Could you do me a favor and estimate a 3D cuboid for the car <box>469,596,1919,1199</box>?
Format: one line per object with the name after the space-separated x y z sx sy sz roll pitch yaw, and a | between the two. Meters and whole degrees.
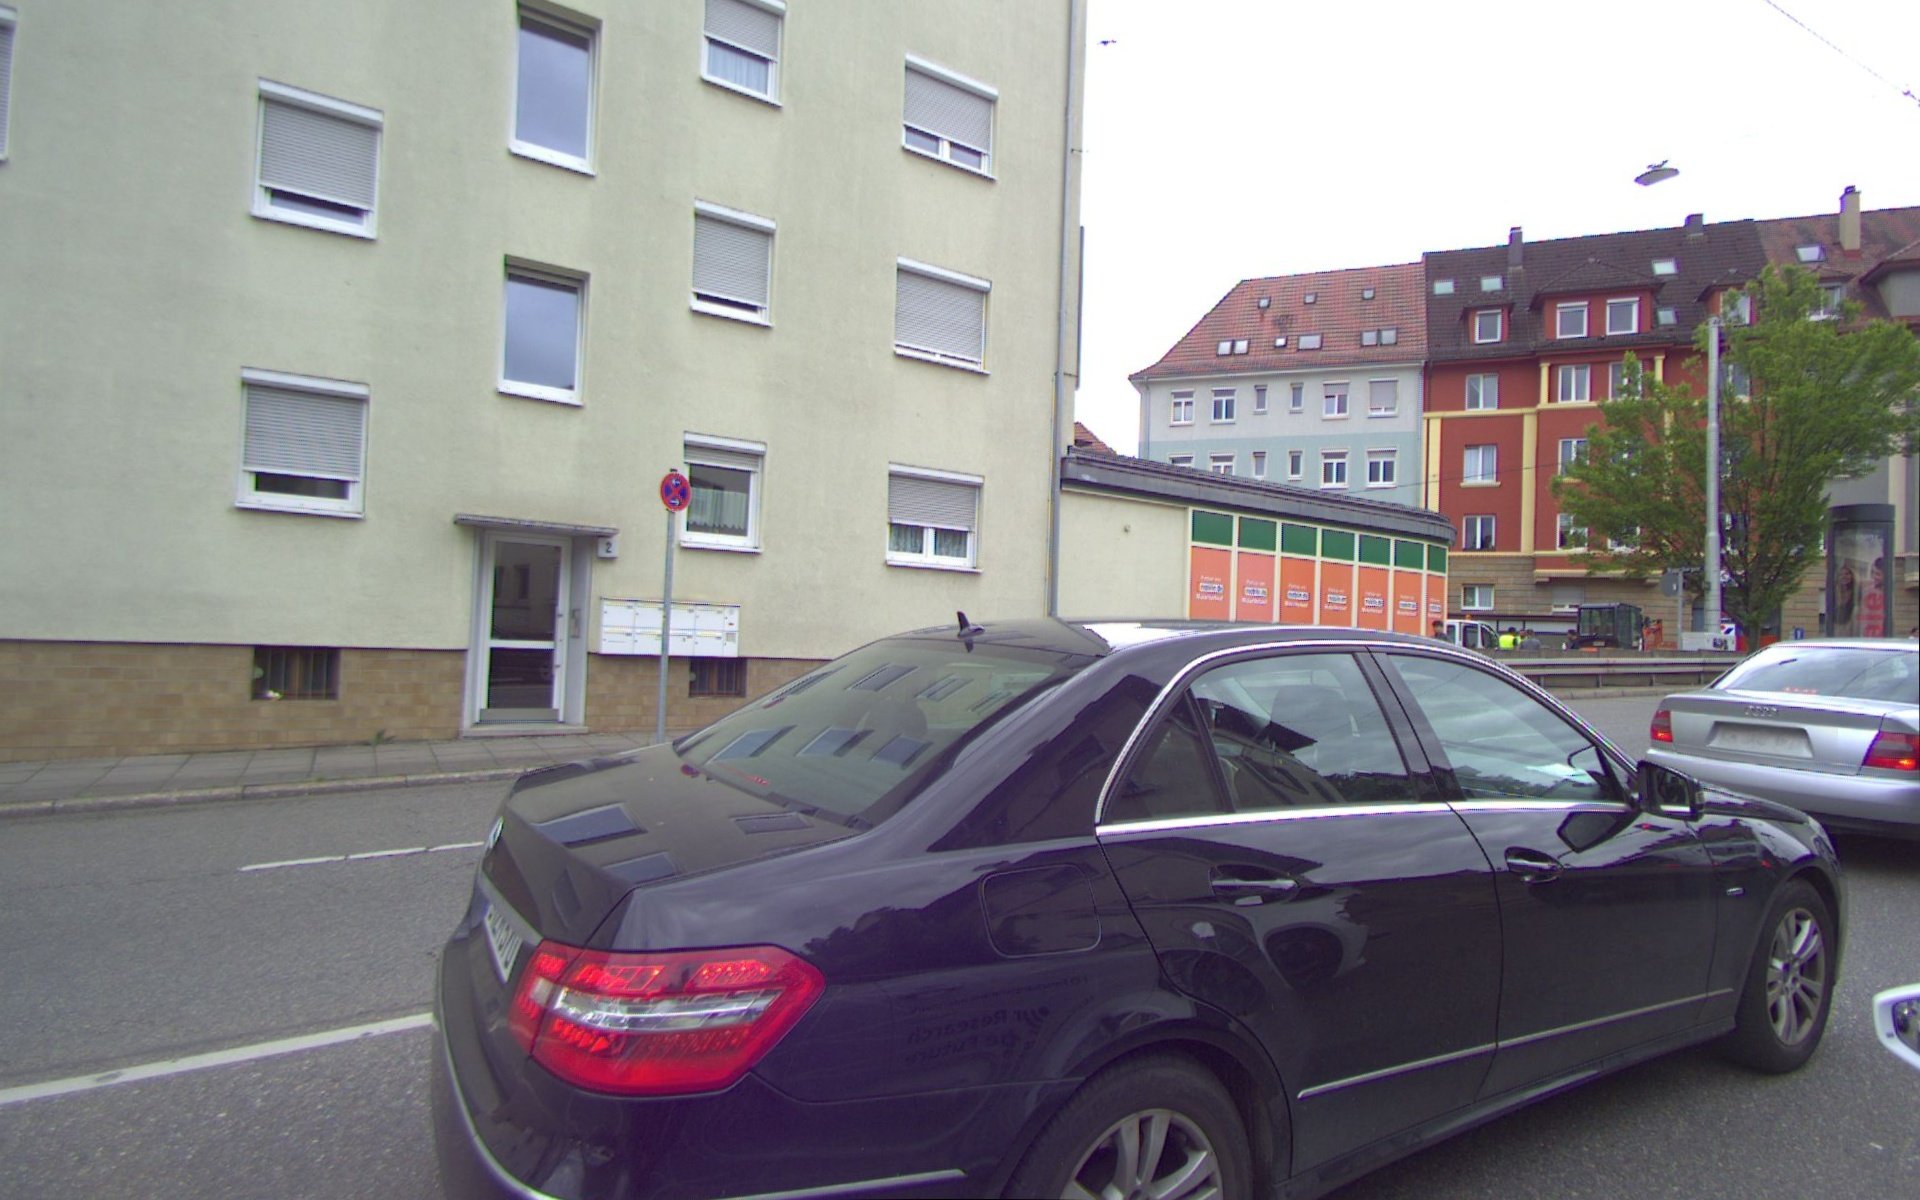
1.074 0.783 3.386 4.785 1.447 1.984 1 -2 -30 | car

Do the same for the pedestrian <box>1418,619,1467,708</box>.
9.209 1.193 19.171 0.680 1.658 0.775 -1 -1 40 | pedestrian

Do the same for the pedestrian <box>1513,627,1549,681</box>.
14.823 1.390 26.071 0.613 1.381 0.602 0 -1 4 | pedestrian

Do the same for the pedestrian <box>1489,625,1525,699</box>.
15.543 1.741 28.559 0.810 2.040 0.680 0 0 23 | pedestrian

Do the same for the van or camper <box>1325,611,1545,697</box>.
14.534 1.575 31.022 5.894 2.369 2.686 0 -1 26 | van or camper

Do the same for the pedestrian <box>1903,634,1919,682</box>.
27.501 1.641 28.706 0.572 1.356 0.576 0 -1 13 | pedestrian

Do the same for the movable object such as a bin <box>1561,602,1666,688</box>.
16.552 1.111 25.385 3.510 2.040 1.363 2 -2 -42 | movable object such as a bin

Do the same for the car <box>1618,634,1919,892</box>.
6.694 0.943 7.069 4.073 1.383 1.623 1 -2 -26 | car

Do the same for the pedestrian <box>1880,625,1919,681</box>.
26.784 1.482 28.438 0.724 1.567 0.794 0 -1 -3 | pedestrian
